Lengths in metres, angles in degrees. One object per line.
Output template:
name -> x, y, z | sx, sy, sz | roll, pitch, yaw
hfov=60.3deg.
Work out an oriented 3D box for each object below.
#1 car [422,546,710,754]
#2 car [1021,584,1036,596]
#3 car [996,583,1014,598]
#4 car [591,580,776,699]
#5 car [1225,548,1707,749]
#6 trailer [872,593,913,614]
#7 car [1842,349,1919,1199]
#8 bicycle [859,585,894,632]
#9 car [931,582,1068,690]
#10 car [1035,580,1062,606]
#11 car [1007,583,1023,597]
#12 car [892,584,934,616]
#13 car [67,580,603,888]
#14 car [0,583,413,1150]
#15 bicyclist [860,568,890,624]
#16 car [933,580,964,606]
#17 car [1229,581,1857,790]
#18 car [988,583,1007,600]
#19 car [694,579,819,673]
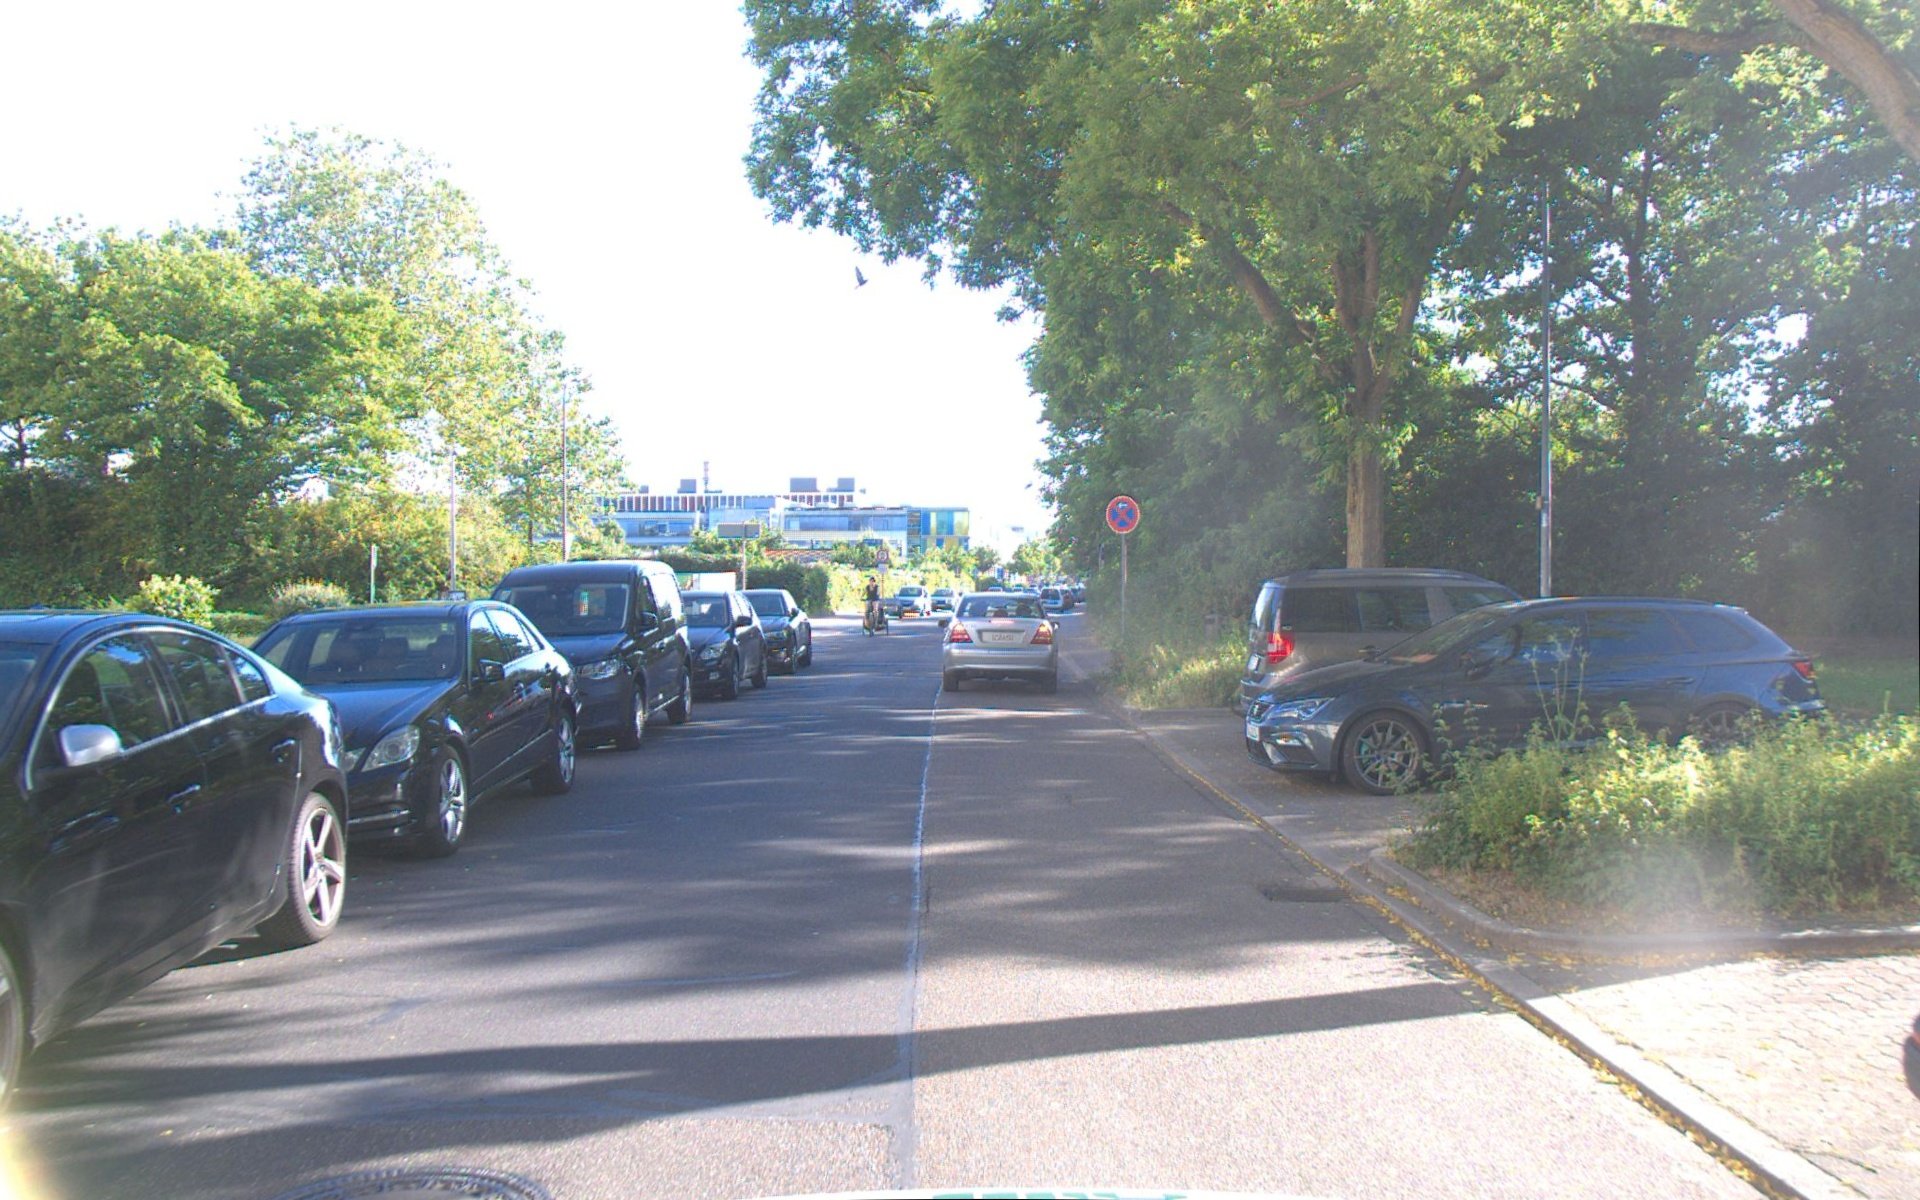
car -> -3.916, 0.426, 17.322 | 1.802, 1.811, 4.888 | -2, 0, 0
car -> 9.021, -1.313, 217.934 | 1.815, 1.453, 4.137 | 1, 1, 5
car -> 4.673, -0.978, 171.544 | 1.527, 1.521, 3.573 | 2, 1, 5
car -> -3.858, 0.494, 23.711 | 1.802, 1.479, 4.020 | -2, 1, 2
car -> 4.707, 0.429, 15.817 | 4.062, 1.725, 1.775 | -1, 1, 2
trailer -> -3.192, 0.169, 78.821 | 1.511, 0.970, 2.649 | 1, 0, 8
car -> 4.406, 0.394, 3.140 | 4.360, 2.051, 2.021 | -2, 1, 0
bicycle -> -2.565, 0.239, 51.088 | 0.833, 1.394, 3.221 | 0, 0, 1
car -> 0.520, 0.485, 25.046 | 1.703, 1.478, 3.997 | 1, 0, -4
car -> 5.708, -0.455, 106.235 | 1.523, 1.565, 3.558 | 2, 1, 5
car -> 6.265, -1.170, 188.525 | 1.527, 1.521, 3.761 | -1, 0, 5
car -> -2.504, -0.026, 88.822 | 1.608, 1.628, 4.315 | 1, 1, 7
car -> -3.765, 0.677, 10.954 | 1.803, 1.507, 4.574 | -3, 1, -1
car -> -3.517, 0.720, 5.658 | 1.803, 1.507, 4.799 | -2, 1, -2
bicyclist -> -2.598, -0.135, 50.601 | 0.827, 1.687, 1.065 | 0, 0, 1
car -> -0.710, -0.456, 106.582 | 1.609, 1.583, 4.420 | -1, 0, 5
car -> 4.477, 0.619, 13.156 | 4.361, 1.439, 1.775 | -1, 1, -1
car -> 3.483, -0.793, 153.523 | 1.527, 1.521, 3.573 | -1, 0, 5
car -> -3.633, 0.413, 30.248 | 1.692, 1.489, 4.682 | -2, 1, 0
